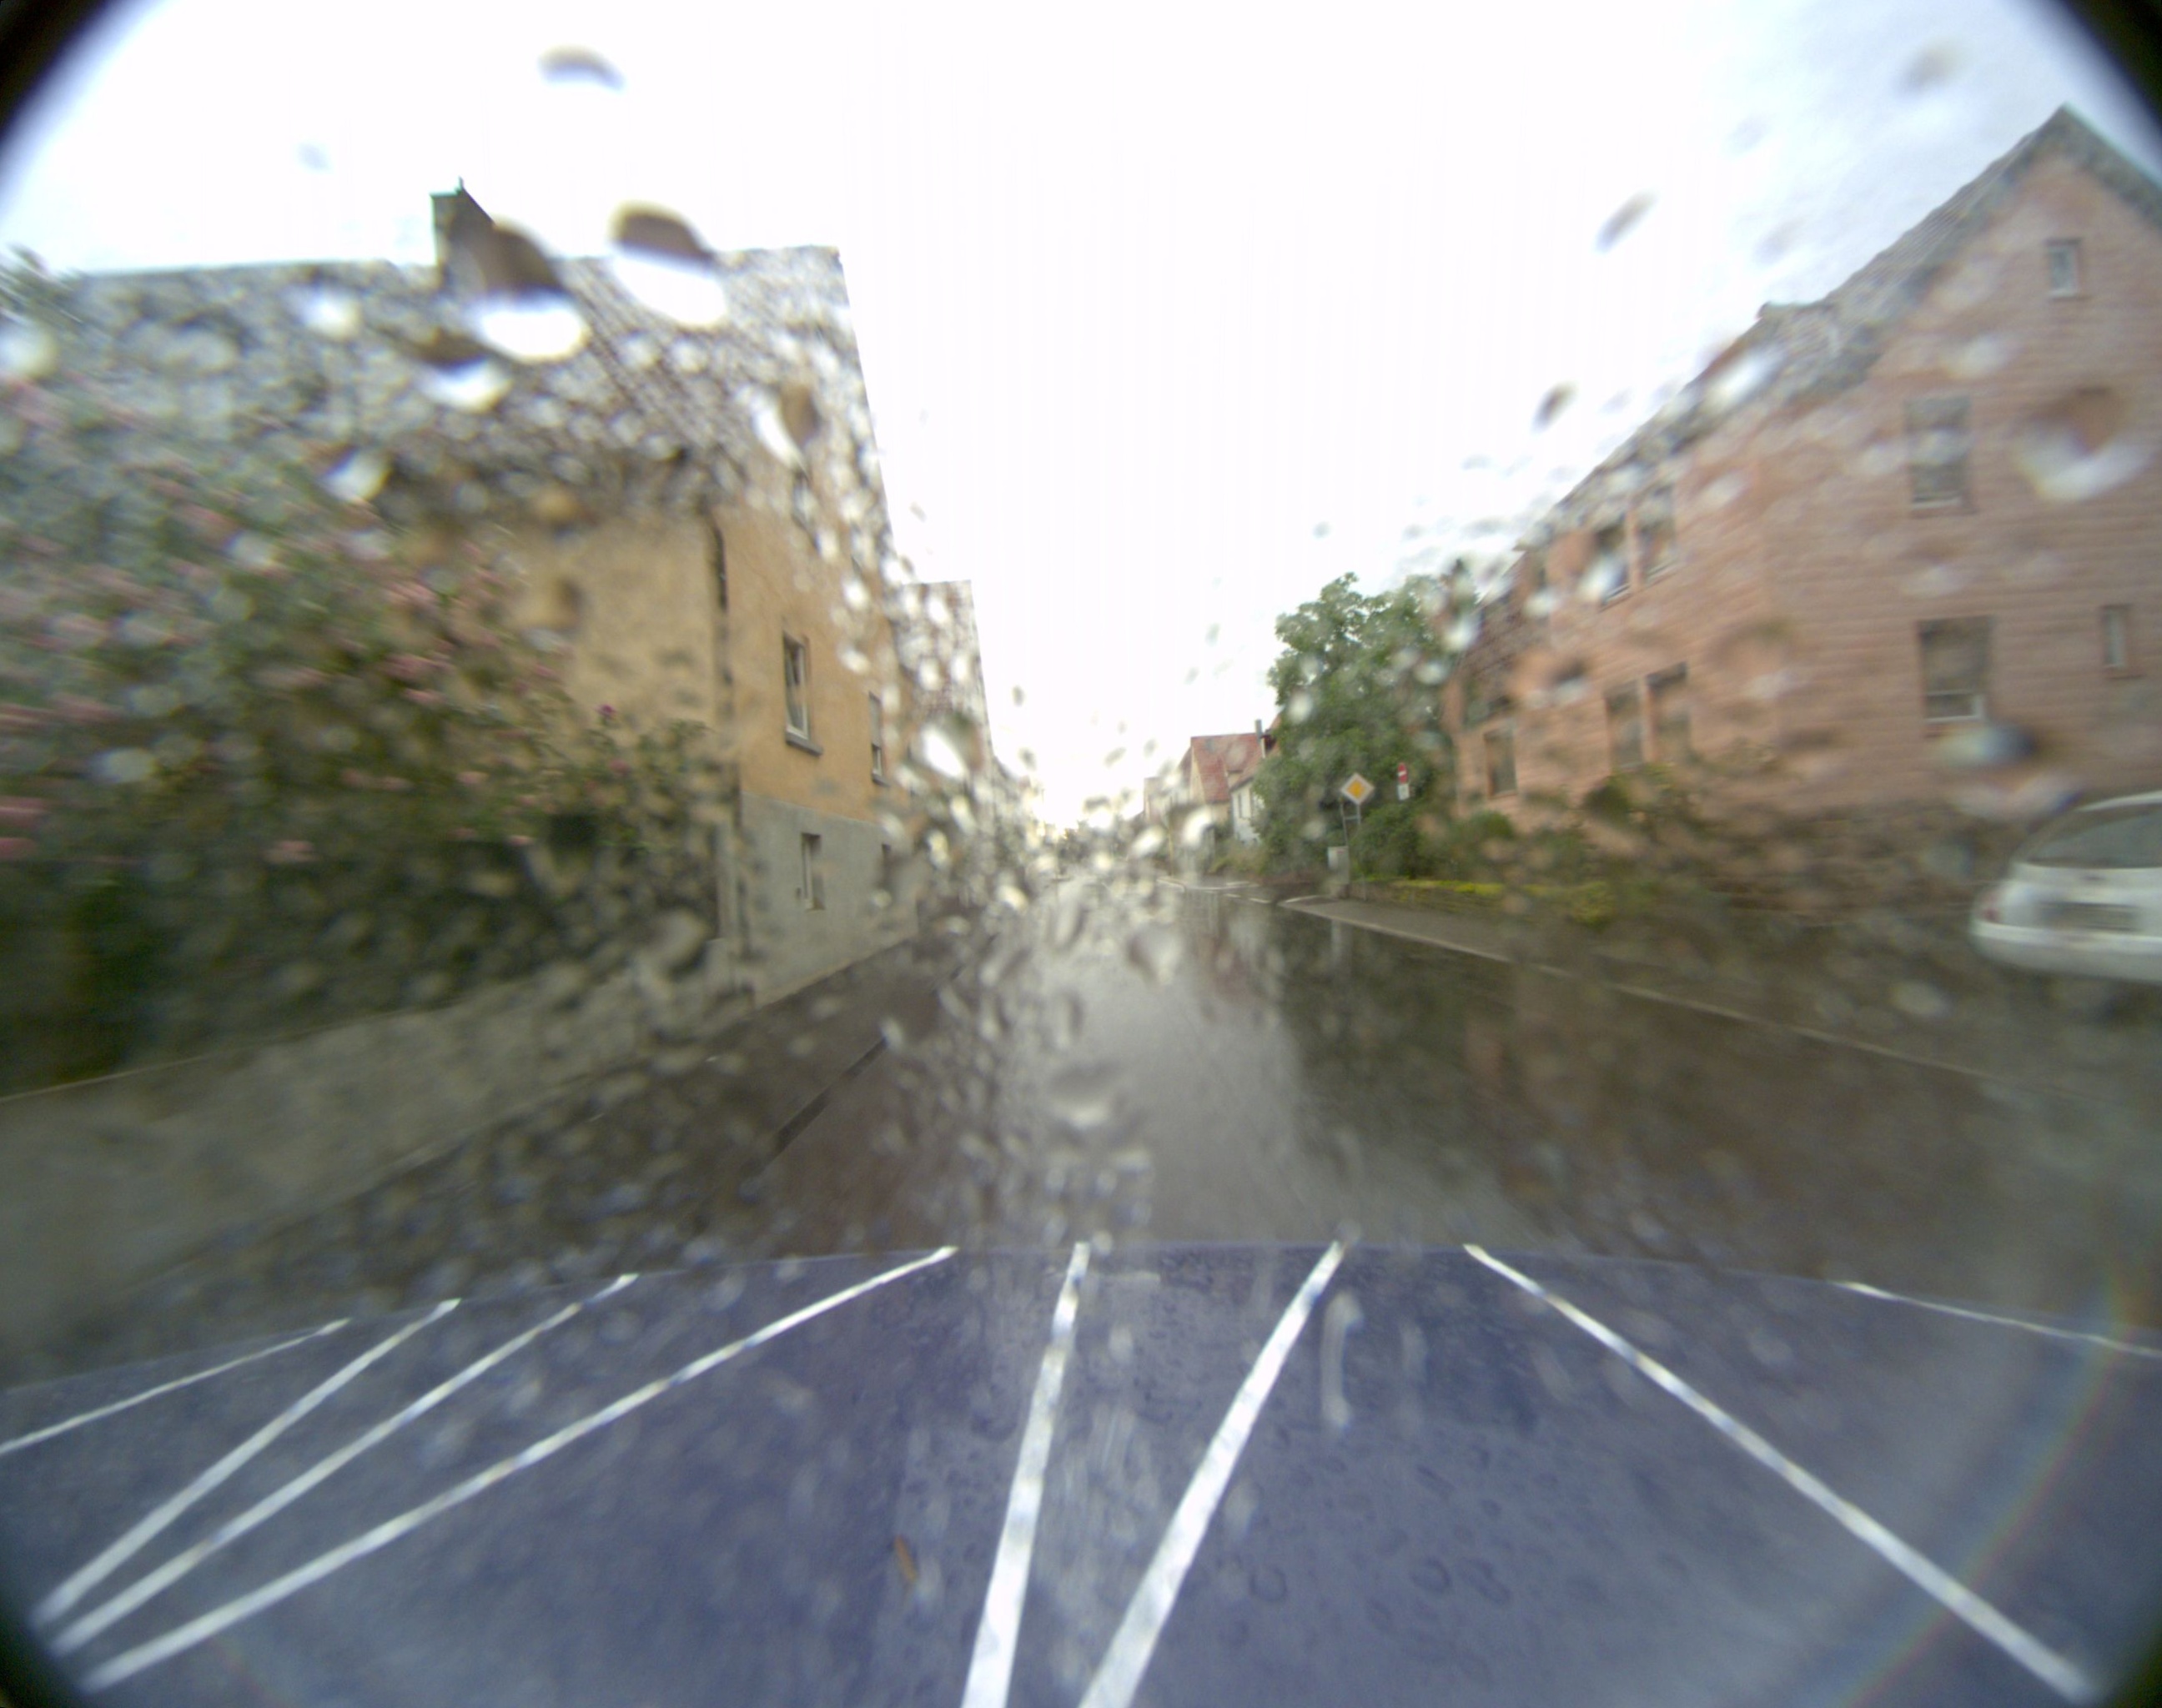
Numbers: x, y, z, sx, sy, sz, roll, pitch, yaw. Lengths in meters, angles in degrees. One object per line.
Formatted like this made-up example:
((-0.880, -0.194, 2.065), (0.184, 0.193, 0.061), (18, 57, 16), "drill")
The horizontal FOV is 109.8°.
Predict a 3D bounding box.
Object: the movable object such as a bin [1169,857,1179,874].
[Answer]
((5.494, 0.682, 45.000), (0.469, 0.933, 0.455), (-7, -2, 2), "movable object such as a bin")

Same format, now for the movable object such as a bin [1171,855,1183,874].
((5.737, 0.606, 45.444), (0.554, 1.076, 0.527), (-6, 0, 2), "movable object such as a bin")

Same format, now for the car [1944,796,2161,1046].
((8.581, 0.300, 5.092), (3.553, 1.520, 1.663), (-5, 0, 1), "car")

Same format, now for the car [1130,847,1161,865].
((9.218, 0.348, 109.463), (3.999, 1.963, 1.873), (9, 0, -3), "car")
